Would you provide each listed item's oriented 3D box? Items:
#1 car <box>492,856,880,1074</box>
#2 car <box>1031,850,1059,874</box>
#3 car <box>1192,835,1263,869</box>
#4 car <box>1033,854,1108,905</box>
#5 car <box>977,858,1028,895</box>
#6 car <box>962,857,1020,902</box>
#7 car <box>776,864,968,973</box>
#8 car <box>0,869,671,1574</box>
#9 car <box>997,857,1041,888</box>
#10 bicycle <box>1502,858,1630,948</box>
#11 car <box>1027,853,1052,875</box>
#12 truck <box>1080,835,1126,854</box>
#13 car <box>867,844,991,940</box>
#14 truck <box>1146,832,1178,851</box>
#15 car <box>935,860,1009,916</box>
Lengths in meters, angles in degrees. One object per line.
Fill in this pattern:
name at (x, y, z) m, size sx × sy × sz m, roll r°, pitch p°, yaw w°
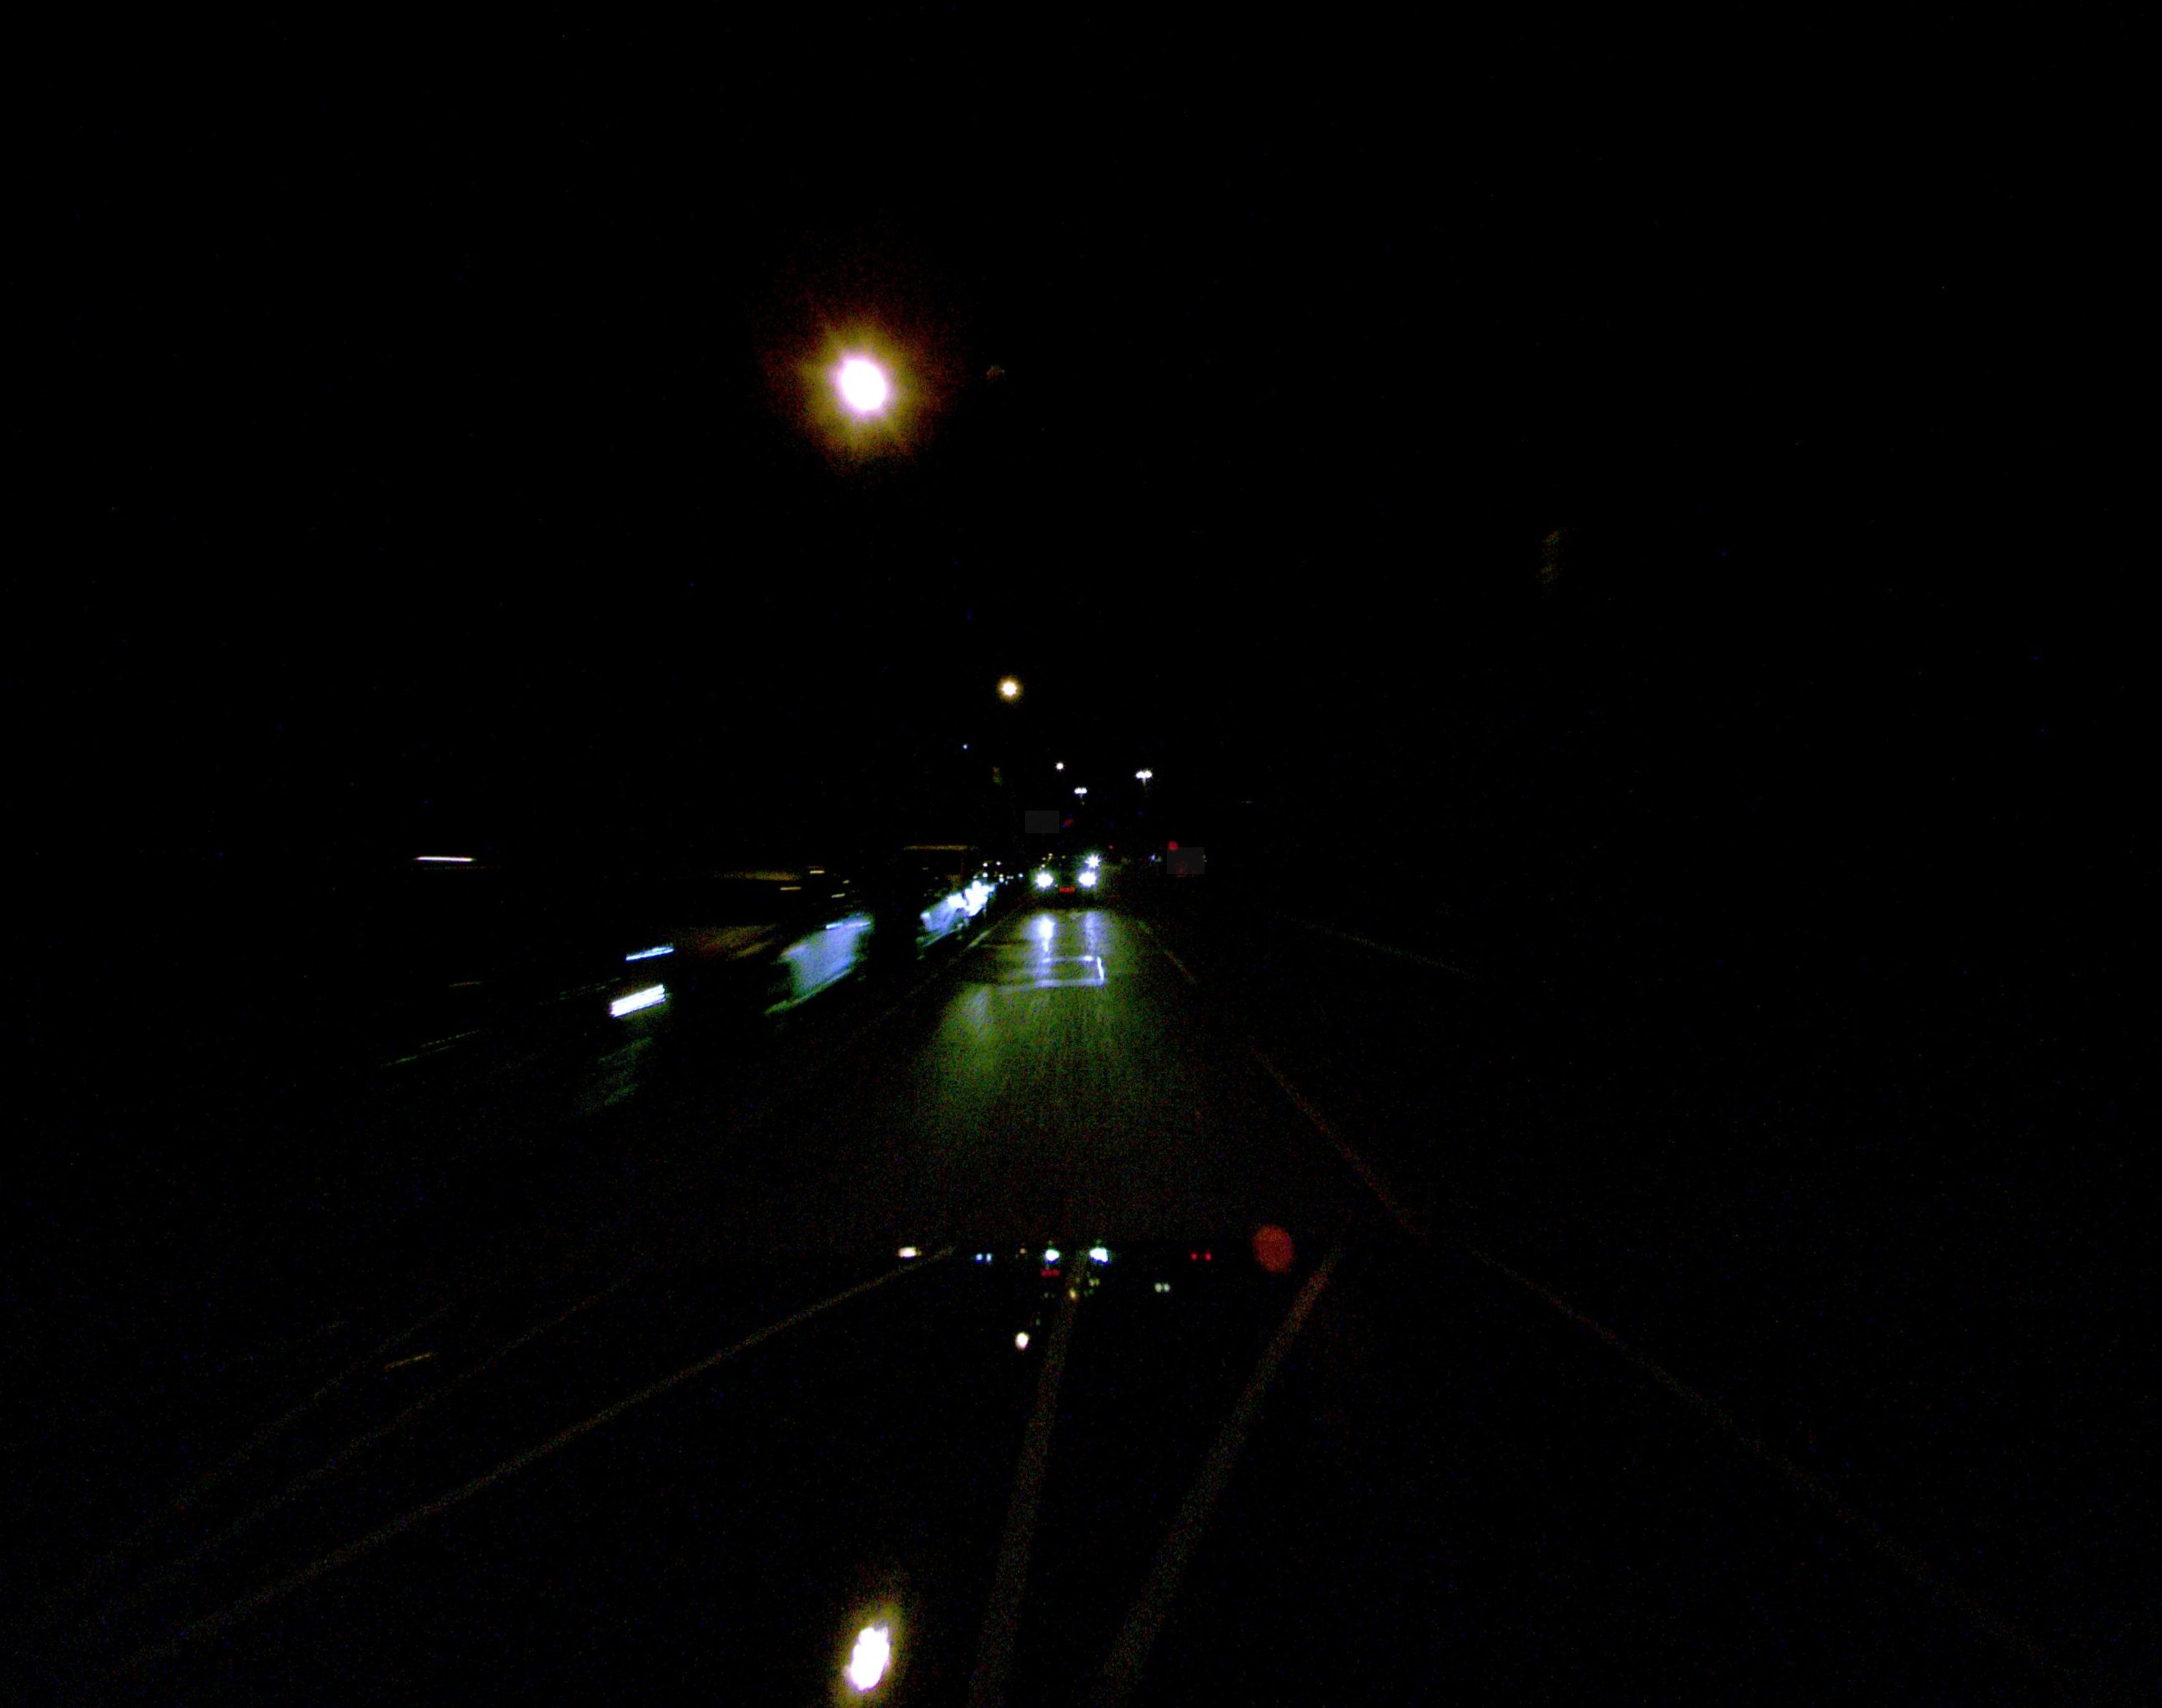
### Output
car at (-3.508, 0.817, 7.909) m, size 1.828 × 1.579 × 4.627 m, roll 0°, pitch 0°, yaw -3°
car at (-2.960, 0.631, 64.069) m, size 2.077 × 1.917 × 5.369 m, roll 0°, pitch 1°, yaw 0°
car at (8.654, -0.095, 44.834) m, size 3.993 × 1.878 × 1.910 m, roll -1°, pitch 1°, yaw 13°
car at (-0.262, 0.808, 26.270) m, size 1.997 × 1.607 × 4.002 m, roll -1°, pitch 0°, yaw 8°
car at (-3.331, 0.920, 32.821) m, size 1.783 × 1.418 × 3.891 m, roll -1°, pitch 1°, yaw 0°
car at (-3.282, 0.898, 28.299) m, size 1.599 × 1.458 × 3.718 m, roll -1°, pitch 1°, yaw 1°
car at (-3.180, 0.907, 12.508) m, size 1.820 × 1.419 × 4.189 m, roll 0°, pitch 0°, yaw 3°
car at (-3.500, 0.902, 2.639) m, size 1.828 × 1.613 × 4.457 m, roll 0°, pitch 0°, yaw -2°
car at (-3.174, 0.927, 39.731) m, size 1.783 × 1.418 × 4.480 m, roll -1°, pitch 1°, yaw 1°
bicycle at (6.372, 0.606, 10.087) m, size 0.621 × 1.045 × 1.721 m, roll -1°, pitch 1°, yaw 1°
car at (-3.152, 0.759, 58.721) m, size 1.824 × 1.590 × 4.219 m, roll 1°, pitch 1°, yaw -2°
truck at (4.527, -1.934, 157.466) m, size 9.340 × 3.701 × 2.002 m, roll -1°, pitch 1°, yaw 16°
car at (-3.269, 0.746, 17.270) m, size 1.805 × 1.864 × 4.773 m, roll 1°, pitch 0°, yaw 0°
truck at (16.555, -2.624, 154.803) m, size 6.196 × 3.673 × 2.403 m, roll -1°, pitch 1°, yaw 13°
car at (-3.261, 0.970, 23.402) m, size 1.599 × 1.458 × 3.891 m, roll -1°, pitch 1°, yaw 1°
